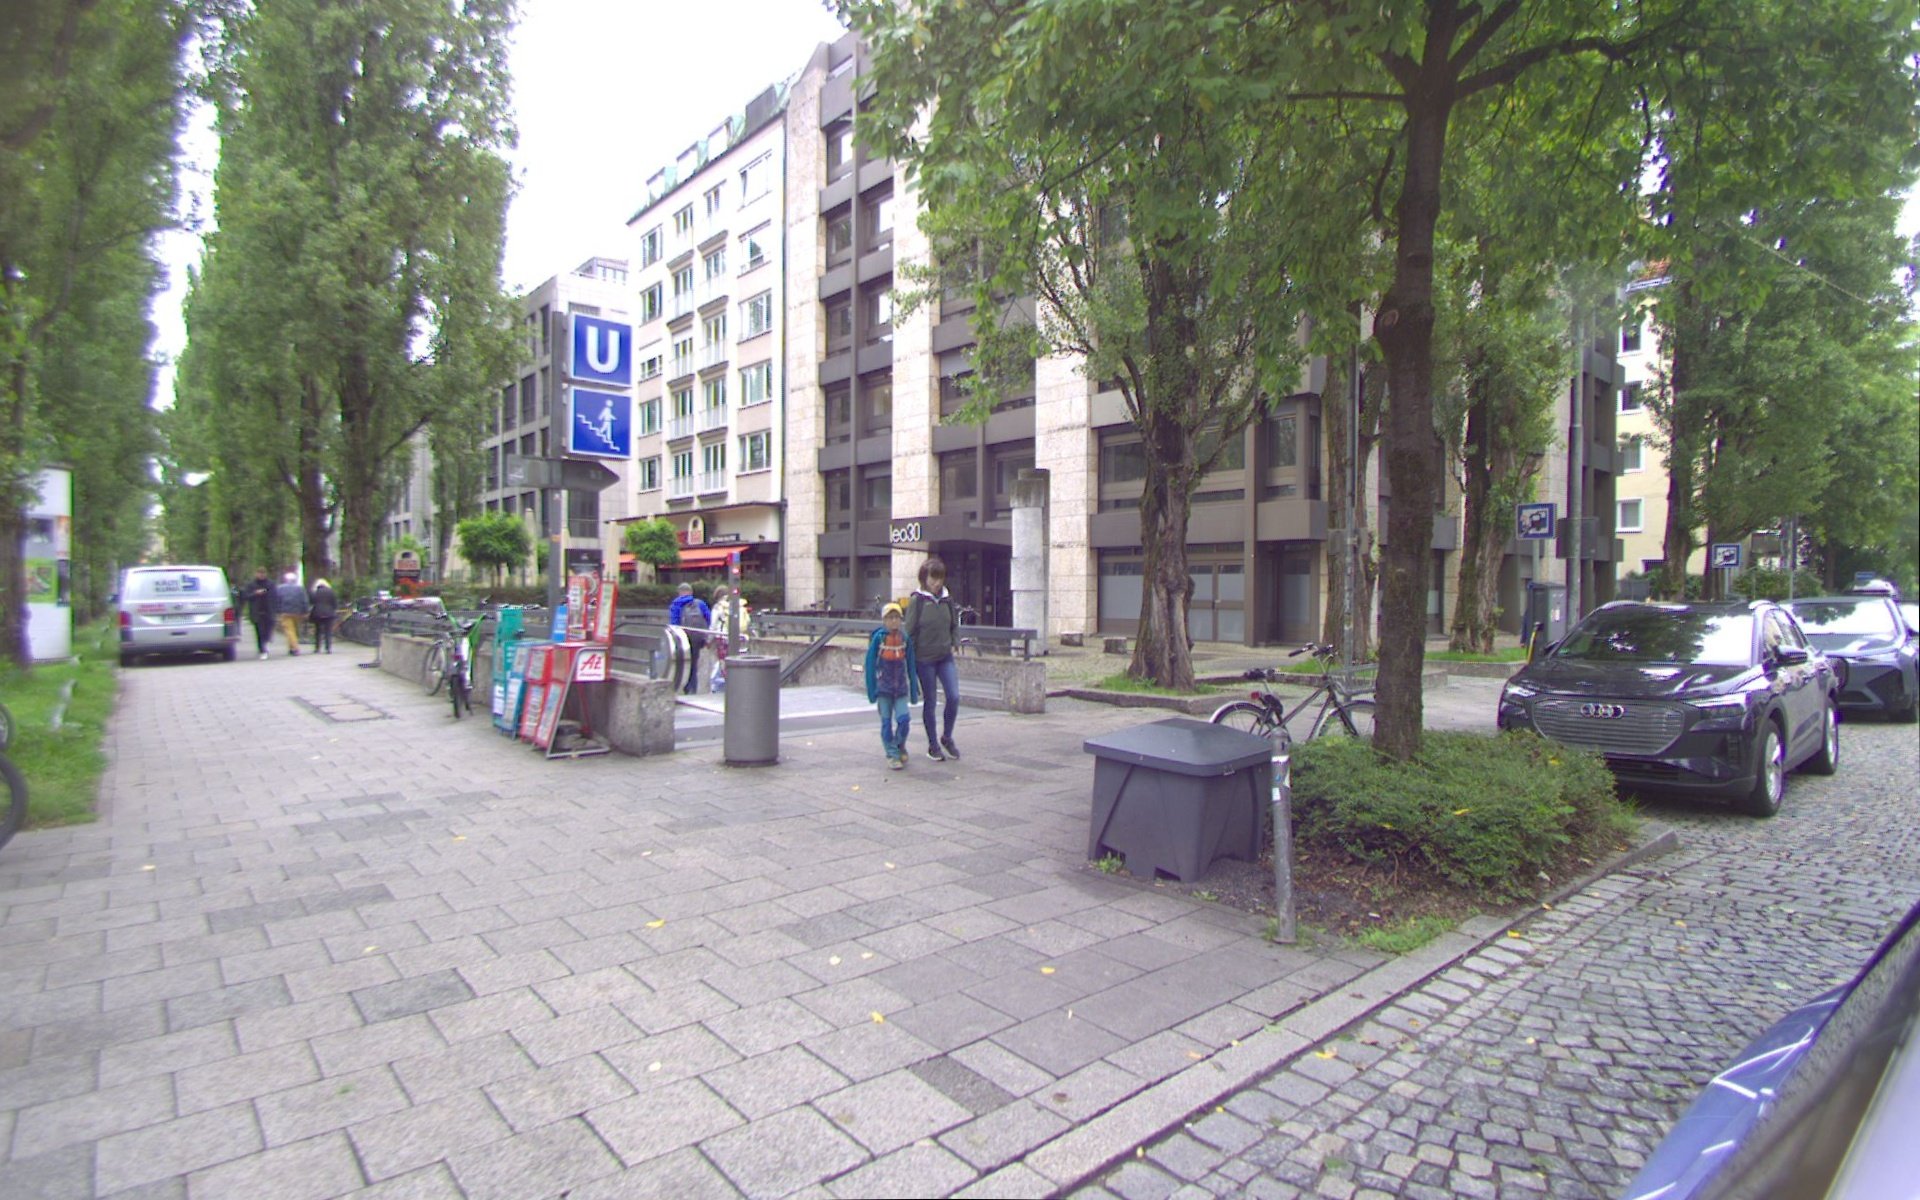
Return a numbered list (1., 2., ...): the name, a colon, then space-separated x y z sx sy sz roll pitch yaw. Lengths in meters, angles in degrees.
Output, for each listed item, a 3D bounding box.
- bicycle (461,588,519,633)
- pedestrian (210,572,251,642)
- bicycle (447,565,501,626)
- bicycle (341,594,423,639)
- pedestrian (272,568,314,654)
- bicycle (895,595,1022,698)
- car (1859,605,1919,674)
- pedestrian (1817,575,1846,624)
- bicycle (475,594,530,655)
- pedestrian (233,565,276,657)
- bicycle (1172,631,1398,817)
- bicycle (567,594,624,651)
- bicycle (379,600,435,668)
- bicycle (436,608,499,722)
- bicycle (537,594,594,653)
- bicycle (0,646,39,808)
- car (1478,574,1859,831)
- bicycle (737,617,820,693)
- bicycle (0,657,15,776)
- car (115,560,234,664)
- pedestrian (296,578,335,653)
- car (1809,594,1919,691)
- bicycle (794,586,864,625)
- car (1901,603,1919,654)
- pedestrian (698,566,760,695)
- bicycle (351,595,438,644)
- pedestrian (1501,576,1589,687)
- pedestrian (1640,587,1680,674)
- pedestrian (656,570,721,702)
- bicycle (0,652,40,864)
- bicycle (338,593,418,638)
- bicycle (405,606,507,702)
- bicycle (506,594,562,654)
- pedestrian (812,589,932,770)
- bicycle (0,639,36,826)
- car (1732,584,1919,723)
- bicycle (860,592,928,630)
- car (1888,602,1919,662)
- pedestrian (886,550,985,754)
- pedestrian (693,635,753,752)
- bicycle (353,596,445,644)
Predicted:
1. bicycle: -12.614 0.292 27.118 1.857 1.174 0.580 -2 -1 36
2. pedestrian: -20.141 0.193 27.975 0.902 1.890 1.014 0 0 -35
3. bicycle: -9.748 -0.101 20.266 0.577 1.174 1.867 0 0 -39
4. bicycle: -15.494 0.434 27.147 1.835 1.174 0.587 0 1 -39
5. pedestrian: -14.527 0.236 22.033 0.736 1.826 0.843 0 0 -35
6. bicycle: -0.047 0.581 13.678 0.709 1.292 1.867 0 0 -39
7. car: 21.890 0.850 22.931 4.133 1.408 1.721 -1 -2 -41
8. pedestrian: 27.882 -0.022 32.386 0.697 1.556 0.644 0 0 -44
9. bicycle: -9.278 0.466 20.497 0.577 1.174 1.867 0 0 -39
10. pedestrian: -14.586 0.209 20.919 0.687 1.864 0.706 0 0 -37
11. bicycle: 2.356 0.825 7.237 1.839 1.151 0.476 0 0 -32
12. bicycle: -7.820 0.457 21.661 0.577 1.174 1.867 0 0 -39
13. bicycle: -10.257 0.598 18.737 0.577 1.174 1.982 0 0 -39
14. bicycle: -5.690 0.696 11.647 0.576 1.174 1.872 0 0 -28
15. bicycle: -8.301 0.470 21.271 0.577 1.174 1.867 0 0 -39
16. bicycle: -7.182 0.873 6.505 1.799 1.051 0.513 -1 1 -36
17. car: 6.373 0.677 8.916 4.130 1.722 1.922 0 0 -43
18. bicycle: -3.132 0.908 17.343 0.577 1.174 1.867 0 0 -39
19. bicycle: -7.759 0.865 6.950 1.799 0.828 0.472 -1 1 -36
20. car: -16.536 0.195 21.238 1.782 1.920 5.197 0 0 -40
21. pedestrian: -14.244 0.326 22.373 0.685 1.626 0.833 0 0 -35
22. car: 17.213 0.692 18.570 4.268 1.603 1.996 0 0 -43
23. bicycle: -4.097 0.161 31.798 2.207 1.170 0.647 0 0 -41
24. car: 28.720 0.784 29.160 3.807 1.405 1.996 0 -1 -42
25. pedestrian: -3.171 0.398 13.850 0.598 1.701 0.846 0 0 -31
26. bicycle: -14.029 0.472 25.136 1.835 1.174 0.587 0 0 -39
27. pedestrian: 9.449 0.489 16.373 0.893 1.735 0.871 0 0 -22
28. pedestrian: 13.476 0.571 19.482 0.558 1.649 0.489 0 0 -38
29. pedestrian: -3.687 0.465 13.712 0.651 1.718 0.807 0 0 -31
30. bicycle: -5.716 0.846 4.883 1.843 1.063 0.475 -2 1 -39
31. bicycle: -15.878 0.411 27.638 1.835 1.174 0.587 0 0 -39
32. bicycle: -6.738 0.675 13.494 1.862 1.174 0.579 0 0 42
33. bicycle: -8.798 0.463 20.867 0.577 1.174 1.867 0 0 -39
34. pedestrian: -0.755 0.628 8.555 0.801 1.437 0.772 0 0 -25
35. bicycle: -6.658 0.840 5.862 1.897 1.119 0.512 -1 1 -41
36. car: 13.023 0.655 14.784 4.594 1.722 2.015 0 0 -43
37. bicycle: -2.075 0.334 31.944 2.207 1.170 0.647 0 0 -41
38. car: 25.068 0.784 25.880 3.501 1.449 1.602 0 -2 -42
39. pedestrian: -0.223 0.433 8.978 0.650 1.722 0.692 0 0 -25
40. pedestrian: -3.717 1.439 15.876 0.700 1.746 0.669 0 0 -41
41. bicycle: -14.289 0.484 25.809 1.995 1.174 0.587 0 0 -39
